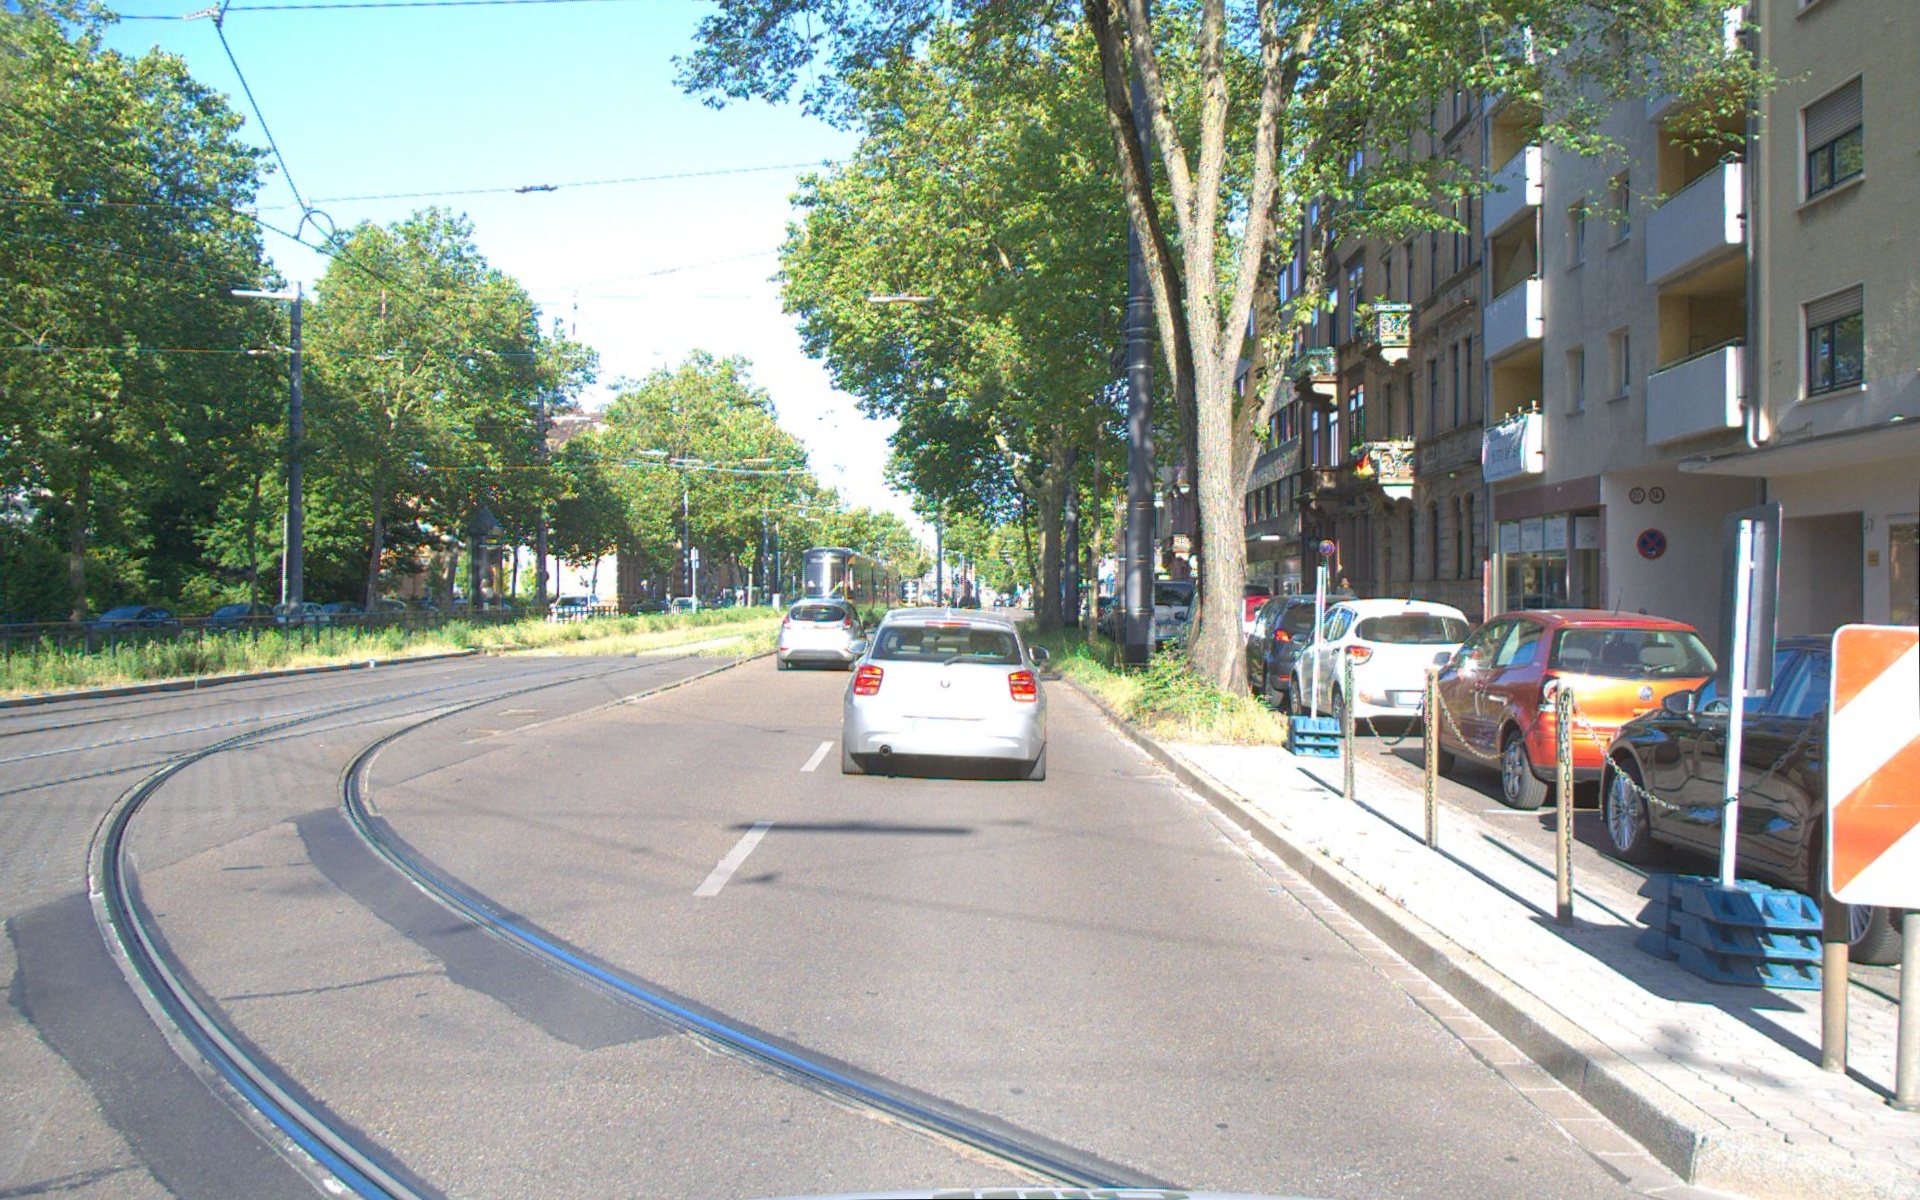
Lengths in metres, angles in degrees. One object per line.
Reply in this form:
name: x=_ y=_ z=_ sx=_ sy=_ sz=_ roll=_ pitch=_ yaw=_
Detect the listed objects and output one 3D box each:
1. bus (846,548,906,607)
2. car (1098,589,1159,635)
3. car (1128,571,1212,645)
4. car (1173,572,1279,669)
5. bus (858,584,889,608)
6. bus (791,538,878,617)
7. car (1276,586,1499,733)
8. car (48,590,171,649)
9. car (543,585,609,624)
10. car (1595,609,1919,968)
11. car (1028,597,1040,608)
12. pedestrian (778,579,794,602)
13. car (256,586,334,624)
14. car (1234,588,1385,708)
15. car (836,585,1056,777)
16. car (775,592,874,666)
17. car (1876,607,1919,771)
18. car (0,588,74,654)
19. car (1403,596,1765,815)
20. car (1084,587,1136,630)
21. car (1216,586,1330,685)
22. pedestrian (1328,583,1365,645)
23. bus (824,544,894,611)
bus: x=-5.247 y=-1.422 z=105.382 sx=2.809 sy=3.504 sz=11.614 roll=1 pitch=1 yaw=2
car: x=5.823 y=0.408 z=57.646 sx=1.643 sy=1.492 sz=4.670 roll=2 pitch=0 yaw=0
car: x=5.631 y=0.169 z=44.844 sx=1.826 sy=1.847 sz=4.801 roll=2 pitch=1 yaw=2
car: x=5.093 y=0.351 z=32.111 sx=1.591 sy=1.697 sz=4.144 roll=2 pitch=1 yaw=3
bus: x=-13.625 y=-0.702 z=263.507 sx=2.809 sy=3.692 sz=24.609 roll=1 pitch=1 yaw=2
bus: x=-5.956 y=-1.090 z=80.853 sx=2.809 sy=3.504 sz=13.220 roll=1 pitch=1 yaw=2
car: x=4.932 y=0.621 z=19.562 sx=1.593 sy=1.502 sz=3.697 roll=2 pitch=1 yaw=-1
car: x=-27.058 y=0.574 z=52.755 sx=1.784 sy=1.713 sz=4.000 roll=2 pitch=1 yaw=0
car: x=-17.373 y=0.187 z=75.017 sx=1.847 sy=1.647 sz=4.598 roll=2 pitch=1 yaw=0
car: x=4.946 y=0.843 z=8.663 sx=1.661 sy=1.446 sz=4.170 roll=2 pitch=1 yaw=1
car: x=10.818 y=0.347 z=242.374 sx=1.665 sy=1.561 sz=3.717 roll=2 pitch=1 yaw=2
pedestrian: x=-12.462 y=-0.676 z=118.608 sx=1.154 sy=1.672 sz=0.891 roll=0 pitch=-1 yaw=-6
car: x=-25.873 y=0.174 z=64.444 sx=1.535 sy=1.335 sz=3.504 roll=2 pitch=1 yaw=1
car: x=4.962 y=0.624 z=23.891 sx=1.529 sy=1.511 sz=3.788 roll=2 pitch=1 yaw=3
car: x=-0.086 y=0.631 z=15.271 sx=1.726 sy=1.457 sz=4.001 roll=2 pitch=1 yaw=1
car: x=-2.786 y=0.568 z=34.746 sx=1.612 sy=1.386 sz=3.761 roll=2 pitch=1 yaw=2
car: x=9.851 y=0.830 z=14.200 sx=1.659 sy=1.506 sz=3.999 roll=-3 pitch=1 yaw=-1
car: x=-27.579 y=0.570 z=47.430 sx=1.953 sy=1.713 sz=4.513 roll=2 pitch=1 yaw=-1
car: x=4.963 y=0.743 z=13.718 sx=1.556 sy=1.459 sz=3.906 roll=2 pitch=1 yaw=1
car: x=5.770 y=0.309 z=64.116 sx=1.768 sy=1.516 sz=4.921 roll=2 pitch=0 yaw=3
car: x=5.240 y=0.548 z=28.053 sx=1.480 sy=1.506 sz=3.494 roll=2 pitch=1 yaw=4
pedestrian: x=11.809 y=0.408 z=50.585 sx=0.978 sy=1.872 sz=0.715 roll=1 pitch=0 yaw=3
bus: x=-5.567 y=-1.261 z=93.499 sx=2.809 sy=3.504 sz=12.218 roll=1 pitch=1 yaw=2
